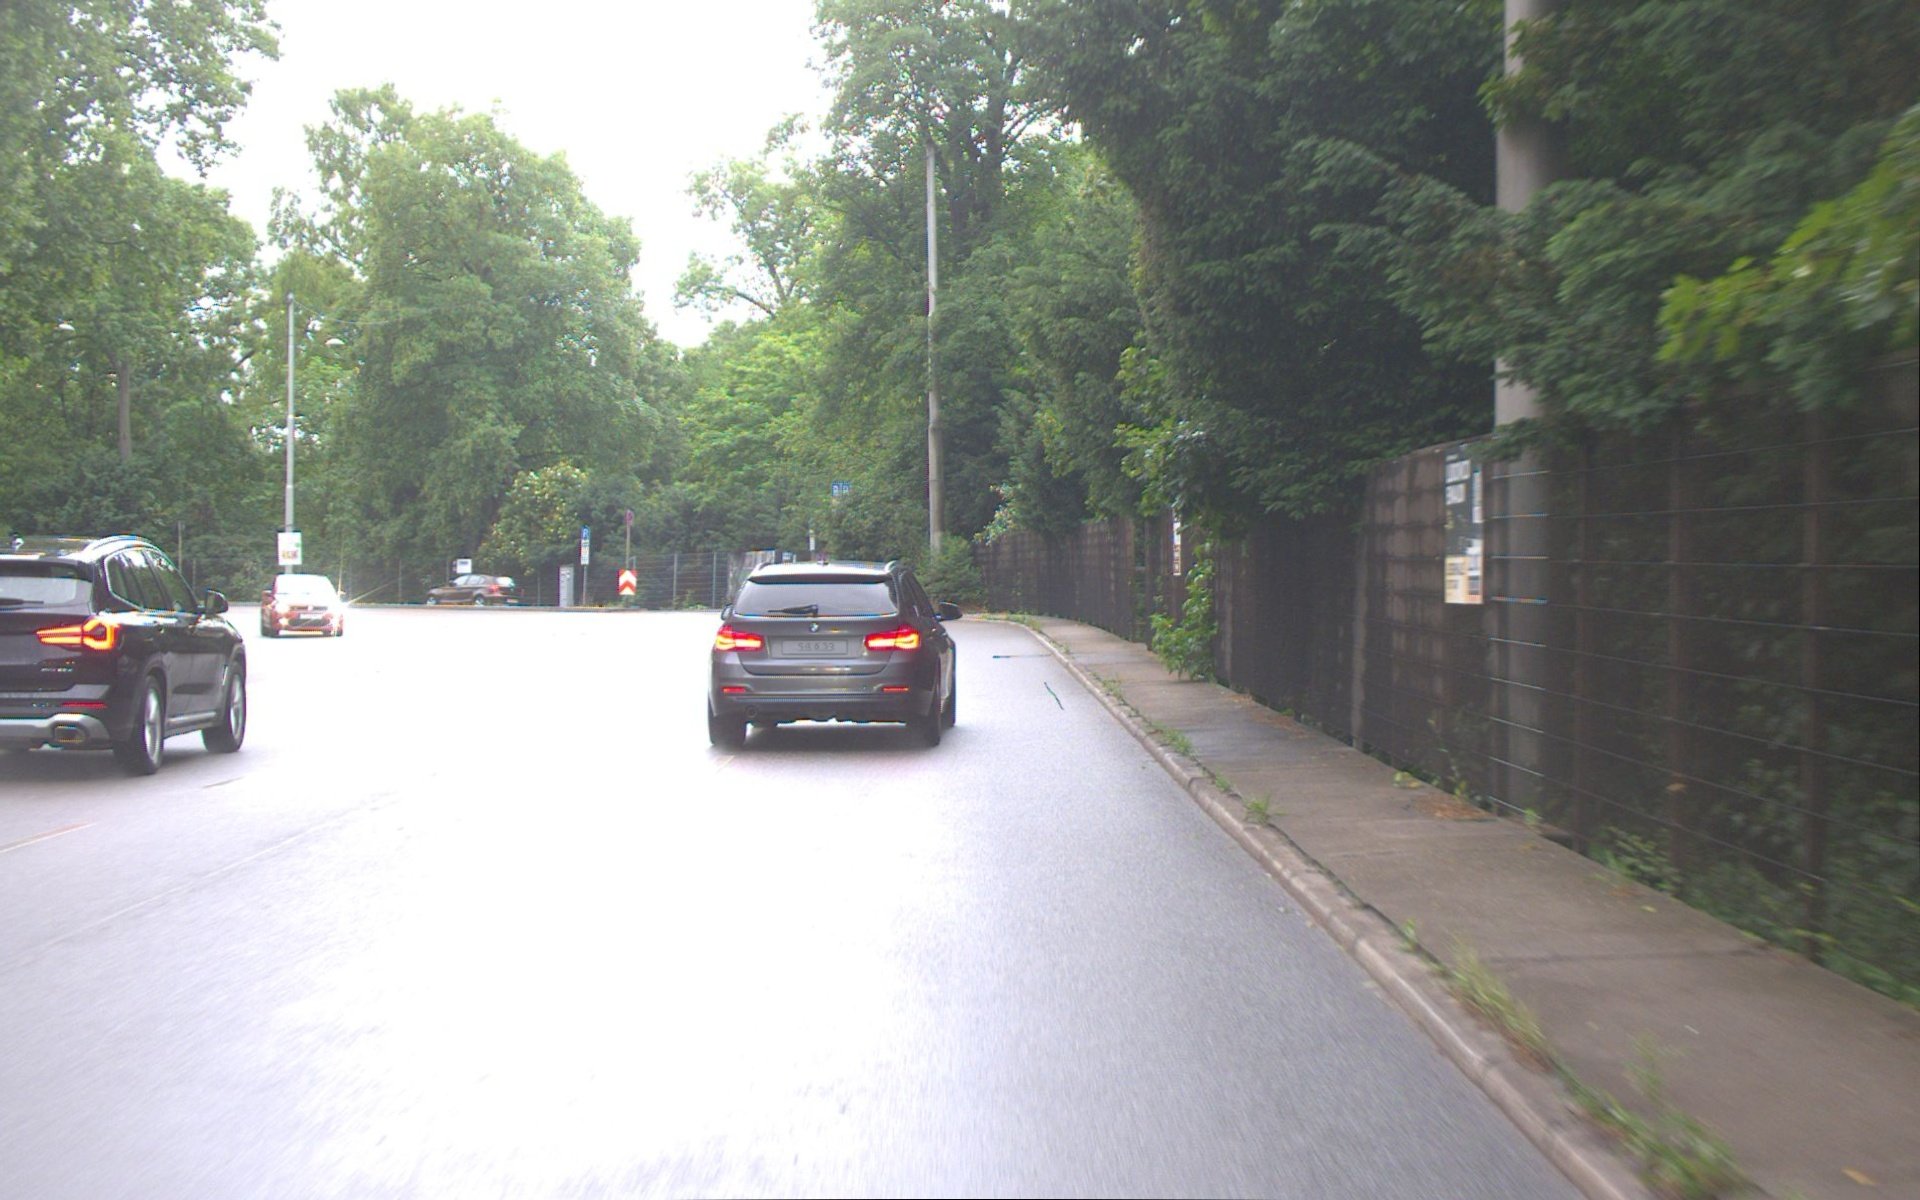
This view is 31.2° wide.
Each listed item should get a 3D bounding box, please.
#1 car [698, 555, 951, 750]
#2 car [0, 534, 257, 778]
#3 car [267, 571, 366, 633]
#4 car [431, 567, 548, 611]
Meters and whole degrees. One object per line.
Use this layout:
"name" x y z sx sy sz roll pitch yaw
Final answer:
"car" -1.028 0.375 28.032 1.757 1.427 4.412 1 1 1
"car" -6.362 0.336 24.767 1.757 1.580 4.413 1 1 -1
"car" -15.116 0.021 80.900 1.580 1.409 3.962 0 1 0
"car" -16.693 -0.401 121.875 4.368 1.422 1.688 1 -2 43
